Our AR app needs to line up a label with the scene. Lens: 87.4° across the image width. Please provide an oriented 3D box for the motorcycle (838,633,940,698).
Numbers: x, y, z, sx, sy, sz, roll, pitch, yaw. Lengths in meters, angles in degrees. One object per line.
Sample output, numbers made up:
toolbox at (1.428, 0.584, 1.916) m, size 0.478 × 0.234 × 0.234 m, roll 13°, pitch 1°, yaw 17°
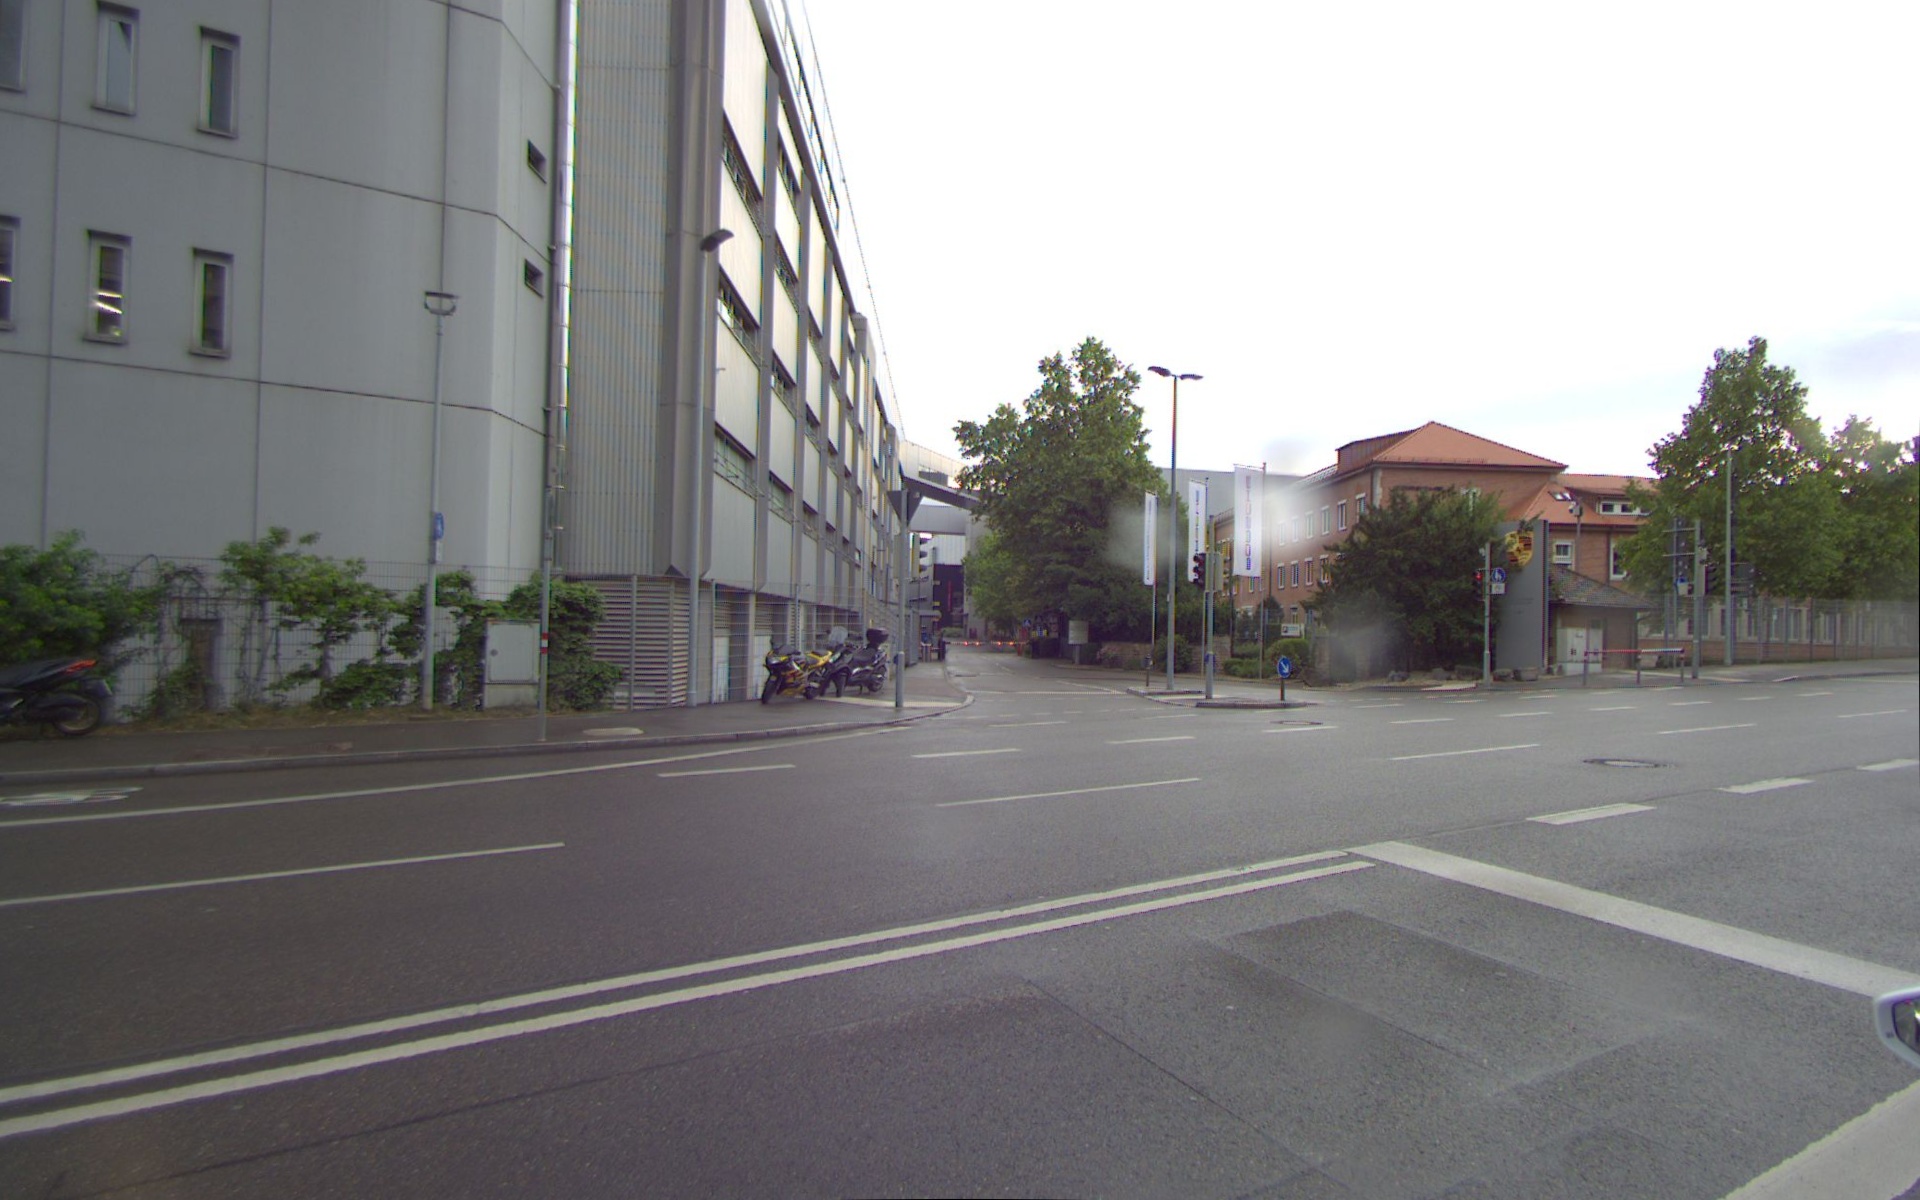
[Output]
motorcycle at (-1.542, 1.425, 22.569) m, size 1.008 × 1.355 × 2.772 m, roll -1°, pitch -2°, yaw 27°

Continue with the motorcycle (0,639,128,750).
motorcycle at (-11.253, 1.093, 11.810) m, size 2.133 × 1.263 × 0.780 m, roll 1°, pitch -2°, yaw -32°

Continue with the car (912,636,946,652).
car at (-3.986, 5.731, 130.645) m, size 3.913 × 1.849 × 1.955 m, roll 2°, pitch 0°, yaw -31°

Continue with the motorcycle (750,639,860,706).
motorcycle at (-3.032, 1.398, 19.972) m, size 0.759 × 1.234 × 2.504 m, roll 0°, pitch -2°, yaw 30°
